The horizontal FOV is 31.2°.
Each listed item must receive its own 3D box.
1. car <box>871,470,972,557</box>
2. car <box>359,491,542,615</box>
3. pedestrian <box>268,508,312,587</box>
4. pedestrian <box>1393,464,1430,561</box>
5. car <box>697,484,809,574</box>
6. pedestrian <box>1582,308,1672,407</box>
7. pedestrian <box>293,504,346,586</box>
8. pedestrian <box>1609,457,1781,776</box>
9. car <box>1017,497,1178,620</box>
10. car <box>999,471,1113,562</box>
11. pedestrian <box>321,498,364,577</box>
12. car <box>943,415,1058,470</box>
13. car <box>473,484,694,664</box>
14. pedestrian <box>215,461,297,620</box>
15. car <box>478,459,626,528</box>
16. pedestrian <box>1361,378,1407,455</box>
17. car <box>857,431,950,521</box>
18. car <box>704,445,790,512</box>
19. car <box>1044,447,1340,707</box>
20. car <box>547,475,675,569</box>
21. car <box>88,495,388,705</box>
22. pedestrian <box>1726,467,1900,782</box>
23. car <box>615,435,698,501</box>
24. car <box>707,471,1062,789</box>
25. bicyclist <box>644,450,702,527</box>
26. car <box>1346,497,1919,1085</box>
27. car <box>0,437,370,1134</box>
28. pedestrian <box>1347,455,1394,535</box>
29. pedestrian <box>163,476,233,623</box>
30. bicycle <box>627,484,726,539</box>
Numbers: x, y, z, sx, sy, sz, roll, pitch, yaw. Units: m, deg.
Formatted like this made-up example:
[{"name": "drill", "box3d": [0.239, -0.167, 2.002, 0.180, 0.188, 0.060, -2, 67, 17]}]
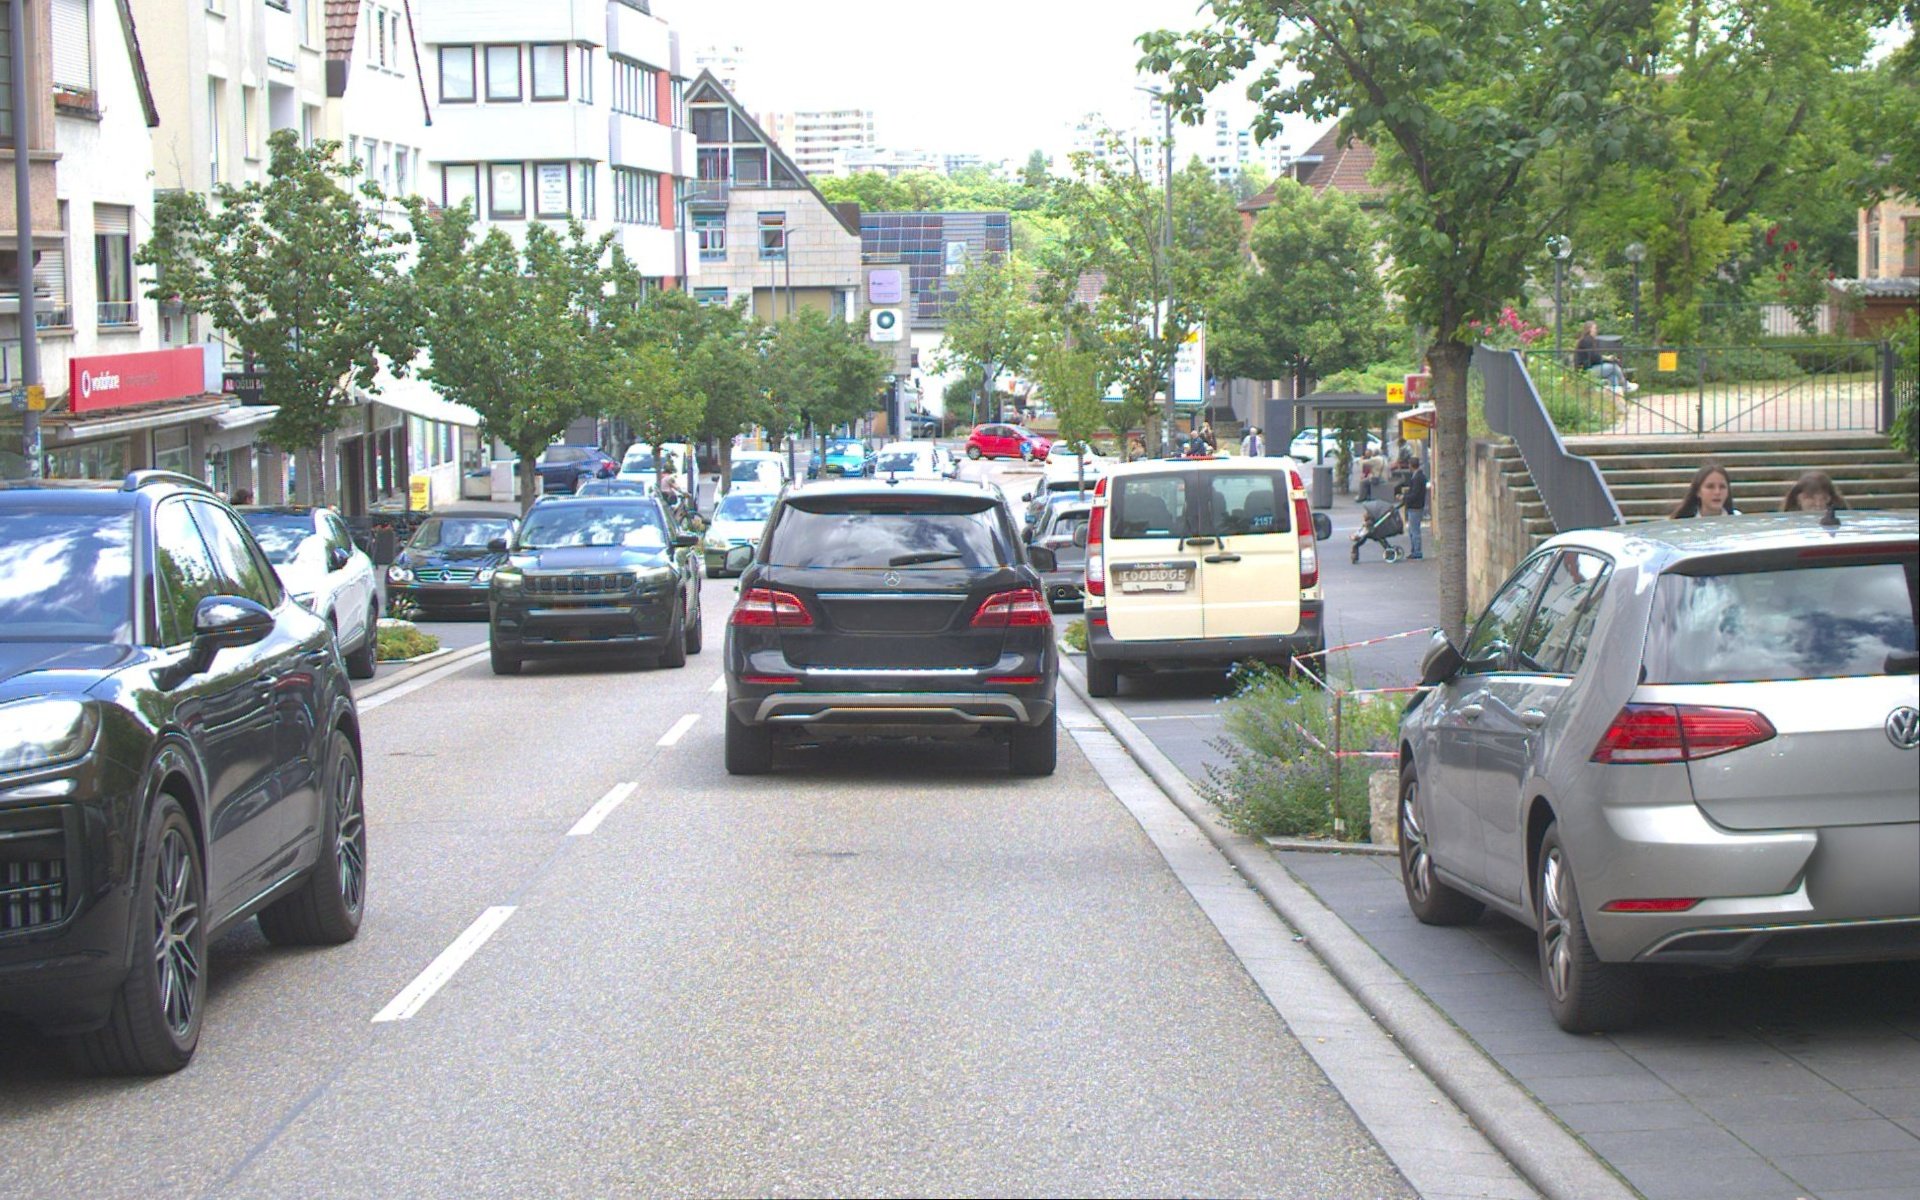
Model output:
[{"name": "car", "box3d": [-0.764, -1.764, 68.960, 1.926, 1.623, 4.263, 1, 2, -1]}, {"name": "car", "box3d": [-6.795, -0.671, 46.240, 1.926, 1.491, 4.263, 1, 2, -2]}, {"name": "pedestrian", "box3d": [-10.912, -0.856, 56.009, 0.565, 1.277, 0.759, 0, 1, -1]}, {"name": "pedestrian", "box3d": [7.469, -1.441, 56.837, 0.568, 1.580, 0.666, -1, 1, 8]}, {"name": "car", "box3d": [-3.640, -1.282, 61.068, 1.812, 1.503, 4.001, -1, 2, -1]}, {"name": "pedestrian", "box3d": [8.657, -3.138, 44.635, 0.990, 1.227, 0.984, -1, 1, 1]}, {"name": "pedestrian", "box3d": [-10.170, -0.882, 54.623, 0.686, 1.277, 0.676, -1, 2, -1]}, {"name": "pedestrian", "box3d": [3.882, 0.076, 18.195, 0.671, 1.627, 0.670, -3, 2, -3]}, {"name": "car", "box3d": [1.801, -0.600, 46.247, 1.938, 1.452, 4.707, -1, 2, 0]}, {"name": "car", "box3d": [1.732, -1.568, 63.204, 1.938, 1.539, 4.707, -1, 2, 0]}, {"name": "pedestrian", "box3d": [-10.077, -1.030, 56.087, 0.565, 1.277, 0.759, 0, 1, -1]}, {"name": "car", "box3d": [1.571, -6.140, 134.307, 4.192, 2.022, 1.784, 0, 2, 33]}, {"name": "car", "box3d": [-3.557, -0.287, 33.040, 1.764, 1.611, 4.033, -1, 2, -1]}, {"name": "pedestrian", "box3d": [-7.468, -0.637, 36.478, 0.727, 1.662, 0.720, 0, 2, -1]}, {"name": "car", "box3d": [-11.538, -3.008, 97.343, 3.986, 1.744, 2.000, -3, 2, -4]}, {"name": "pedestrian", "box3d": [12.041, -5.206, 97.639, 1.012, 2.143, 1.067, -2, 2, 18]}, {"name": "car", "box3d": [-1.520, -3.366, 93.887, 2.174, 2.356, 4.622, -1, 2, 3]}, {"name": "car", "box3d": [-5.358, -3.091, 86.997, 1.926, 1.623, 4.263, 1, 2, -1]}, {"name": "car", "box3d": [1.821, -0.275, 28.469, 1.938, 1.885, 4.707, -3, 2, -1]}, {"name": "car", "box3d": [-6.323, -1.460, 62.733, 1.926, 1.623, 4.263, 0, 2, -1]}, {"name": "car", "box3d": [-6.179, -0.064, 29.888, 1.926, 1.590, 4.459, 1, 2, -4]}, {"name": "pedestrian", "box3d": [4.567, 0.121, 18.433, 0.671, 1.627, 0.670, -3, 2, -3]}, {"name": "car", "box3d": [-7.919, -3.460, 89.944, 1.926, 1.623, 4.415, 1, 2, -2]}, {"name": "car", "box3d": [-0.432, 0.091, 21.081, 1.943, 1.734, 4.179, 1, 2, 0]}, {"name": "bicyclist", "box3d": [-6.144, -2.387, 73.554, 0.962, 1.603, 0.730, -4, 2, -27]}, {"name": "car", "box3d": [2.438, 0.445, 11.085, 1.748, 1.460, 4.075, -3, 2, -2]}, {"name": "car", "box3d": [-3.179, 0.431, 10.676, 1.992, 1.712, 4.448, -2, 2, -2]}, {"name": "pedestrian", "box3d": [10.059, -2.586, 84.352, 1.050, 1.906, 0.937, -3, 2, 7]}, {"name": "pedestrian", "box3d": [-8.661, -0.579, 39.103, 0.641, 1.662, 0.720, 0, 2, -2]}, {"name": "bicycle", "box3d": [-6.067, -1.895, 73.609, 1.956, 1.054, 0.712, -4, 2, -27]}]
